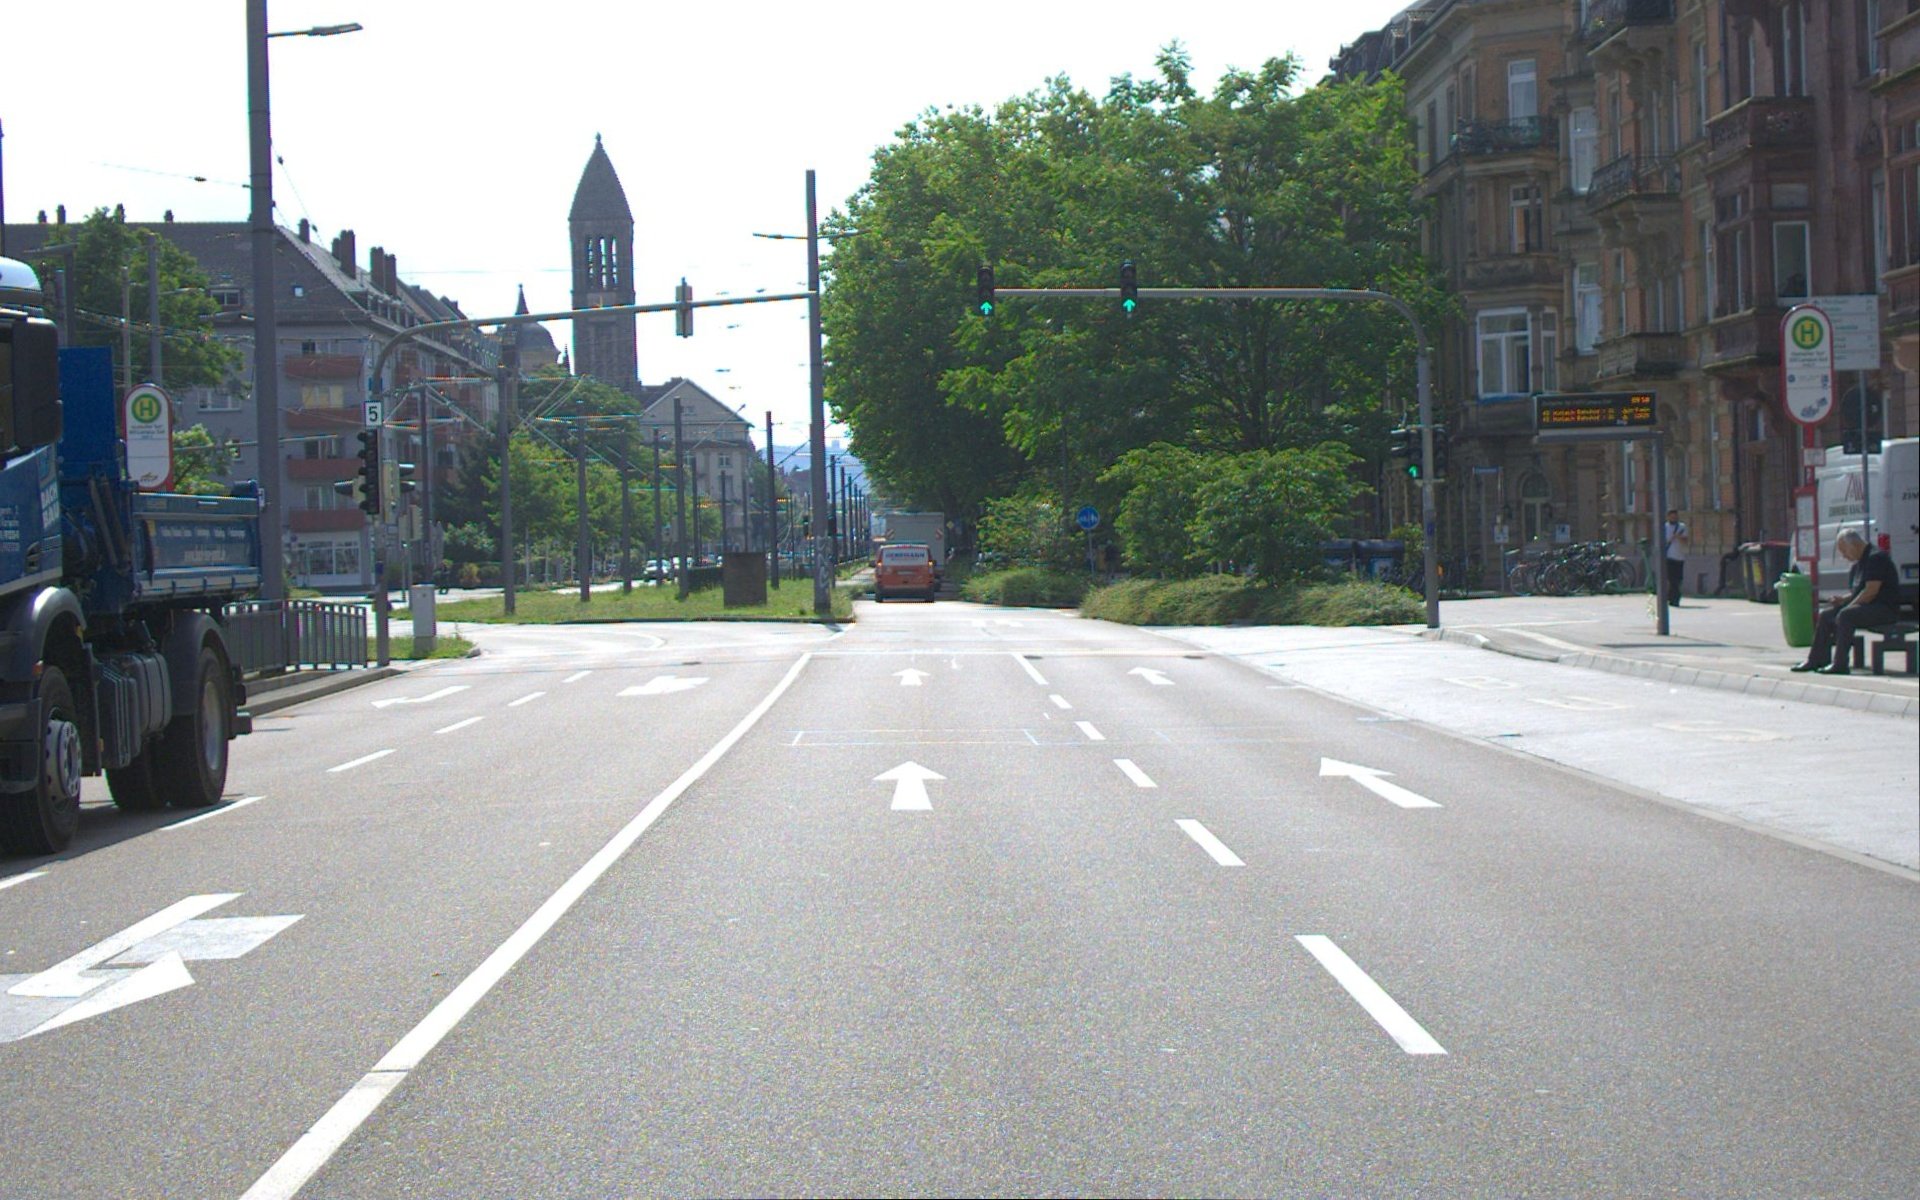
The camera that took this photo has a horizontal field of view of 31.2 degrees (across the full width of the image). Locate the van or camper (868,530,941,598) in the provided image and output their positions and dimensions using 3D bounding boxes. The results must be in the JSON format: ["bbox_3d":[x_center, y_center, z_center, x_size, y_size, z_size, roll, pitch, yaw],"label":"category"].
[{"bbox_3d":[-1.819,-1.135,110.810,2.008,1.908,4.523,2,-3,-5],"label":"van or camper"}]

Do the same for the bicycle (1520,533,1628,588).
[{"bbox_3d":[13.275,-0.856,74.318,2.189,1.177,0.684,-1,1,-5],"label":"bicycle"}]

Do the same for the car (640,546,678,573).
[{"bbox_3d":[-20.378,-2.760,232.748,1.994,1.787,4.000,-2,1,3],"label":"car"}]

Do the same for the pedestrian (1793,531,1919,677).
[{"bbox_3d":[8.240,0.031,31.600,0.742,1.311,0.821,1,1,-39],"label":"pedestrian"}]

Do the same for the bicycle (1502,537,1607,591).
[{"bbox_3d":[13.082,-0.798,75.672,2.189,1.177,0.684,-1,1,-5],"label":"bicycle"}]

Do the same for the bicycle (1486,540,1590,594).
[{"bbox_3d":[12.959,-0.735,77.088,2.189,1.177,0.684,-1,1,-5],"label":"bicycle"}]

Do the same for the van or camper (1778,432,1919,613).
[{"bbox_3d":[13.597,-1.124,49.935,1.993,2.465,5.565,-2,1,-1],"label":"van or camper"}]

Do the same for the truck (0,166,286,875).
[{"bbox_3d":[-6.152,-0.442,21.226,2.463,3.636,7.450,-2,1,0],"label":"truck"}]

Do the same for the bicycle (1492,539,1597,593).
[{"bbox_3d":[12.991,-0.766,76.408,2.189,1.177,0.684,-1,1,-5],"label":"bicycle"}]

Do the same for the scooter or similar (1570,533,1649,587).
[{"bbox_3d":[13.432,-0.830,71.102,1.565,1.094,0.451,-1,1,3],"label":"scooter or similar"}]

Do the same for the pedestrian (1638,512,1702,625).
[{"bbox_3d":[12.735,-0.566,61.676,0.886,2.007,0.996,1,0,0],"label":"pedestrian"}]

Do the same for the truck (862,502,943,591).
[{"bbox_3d":[-2.321,-2.145,141.030,3.170,3.275,7.296,0,-2,0],"label":"truck"}]

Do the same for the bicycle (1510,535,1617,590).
[{"bbox_3d":[13.161,-0.828,74.966,2.189,1.177,0.684,-1,1,-5],"label":"bicycle"}]

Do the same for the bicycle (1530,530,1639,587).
[{"bbox_3d":[13.358,-0.889,73.553,2.189,1.177,0.684,-1,1,-5],"label":"bicycle"}]
